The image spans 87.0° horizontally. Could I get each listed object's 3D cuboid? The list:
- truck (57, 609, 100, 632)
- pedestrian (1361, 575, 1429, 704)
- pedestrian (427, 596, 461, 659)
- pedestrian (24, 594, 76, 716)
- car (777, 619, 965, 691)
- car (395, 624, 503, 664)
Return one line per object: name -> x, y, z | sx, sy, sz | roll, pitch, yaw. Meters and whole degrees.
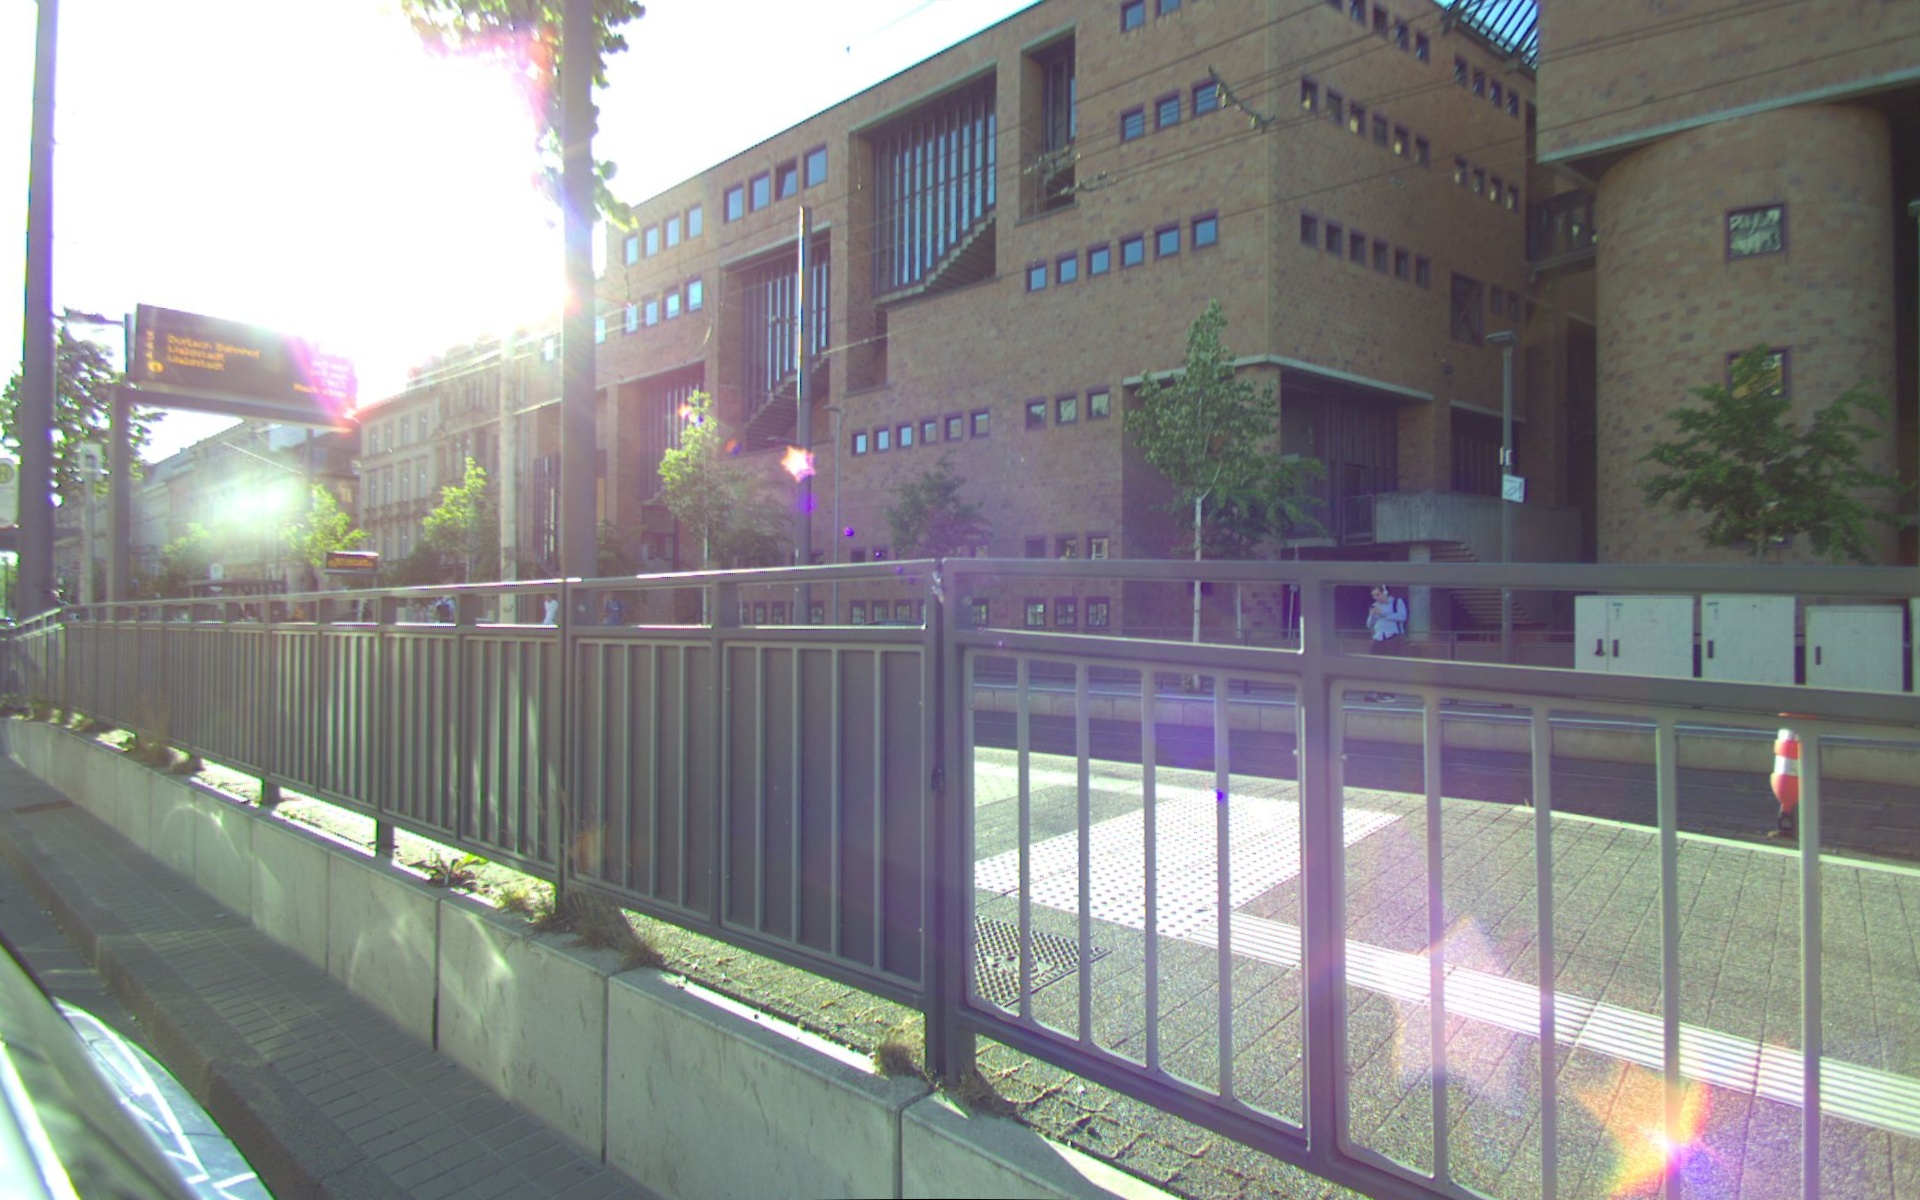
truck -> -76.579, 1.824, 87.938 | 5.151, 1.894, 1.973 | -2, -4, 40
pedestrian -> 5.778, 0.504, 13.440 | 0.684, 1.647, 0.660 | 0, 0, 37
pedestrian -> -15.254, 0.804, 29.907 | 0.668, 1.821, 0.677 | 0, 0, 40
pedestrian -> -18.737, 1.109, 20.840 | 0.625, 2.461, 0.676 | 0, 0, 38
car -> -2.114, 1.196, 23.423 | 4.234, 1.441, 1.808 | 0, 0, 37
car -> -19.254, 1.627, 38.065 | 4.522, 1.441, 1.808 | -1, -2, 37
